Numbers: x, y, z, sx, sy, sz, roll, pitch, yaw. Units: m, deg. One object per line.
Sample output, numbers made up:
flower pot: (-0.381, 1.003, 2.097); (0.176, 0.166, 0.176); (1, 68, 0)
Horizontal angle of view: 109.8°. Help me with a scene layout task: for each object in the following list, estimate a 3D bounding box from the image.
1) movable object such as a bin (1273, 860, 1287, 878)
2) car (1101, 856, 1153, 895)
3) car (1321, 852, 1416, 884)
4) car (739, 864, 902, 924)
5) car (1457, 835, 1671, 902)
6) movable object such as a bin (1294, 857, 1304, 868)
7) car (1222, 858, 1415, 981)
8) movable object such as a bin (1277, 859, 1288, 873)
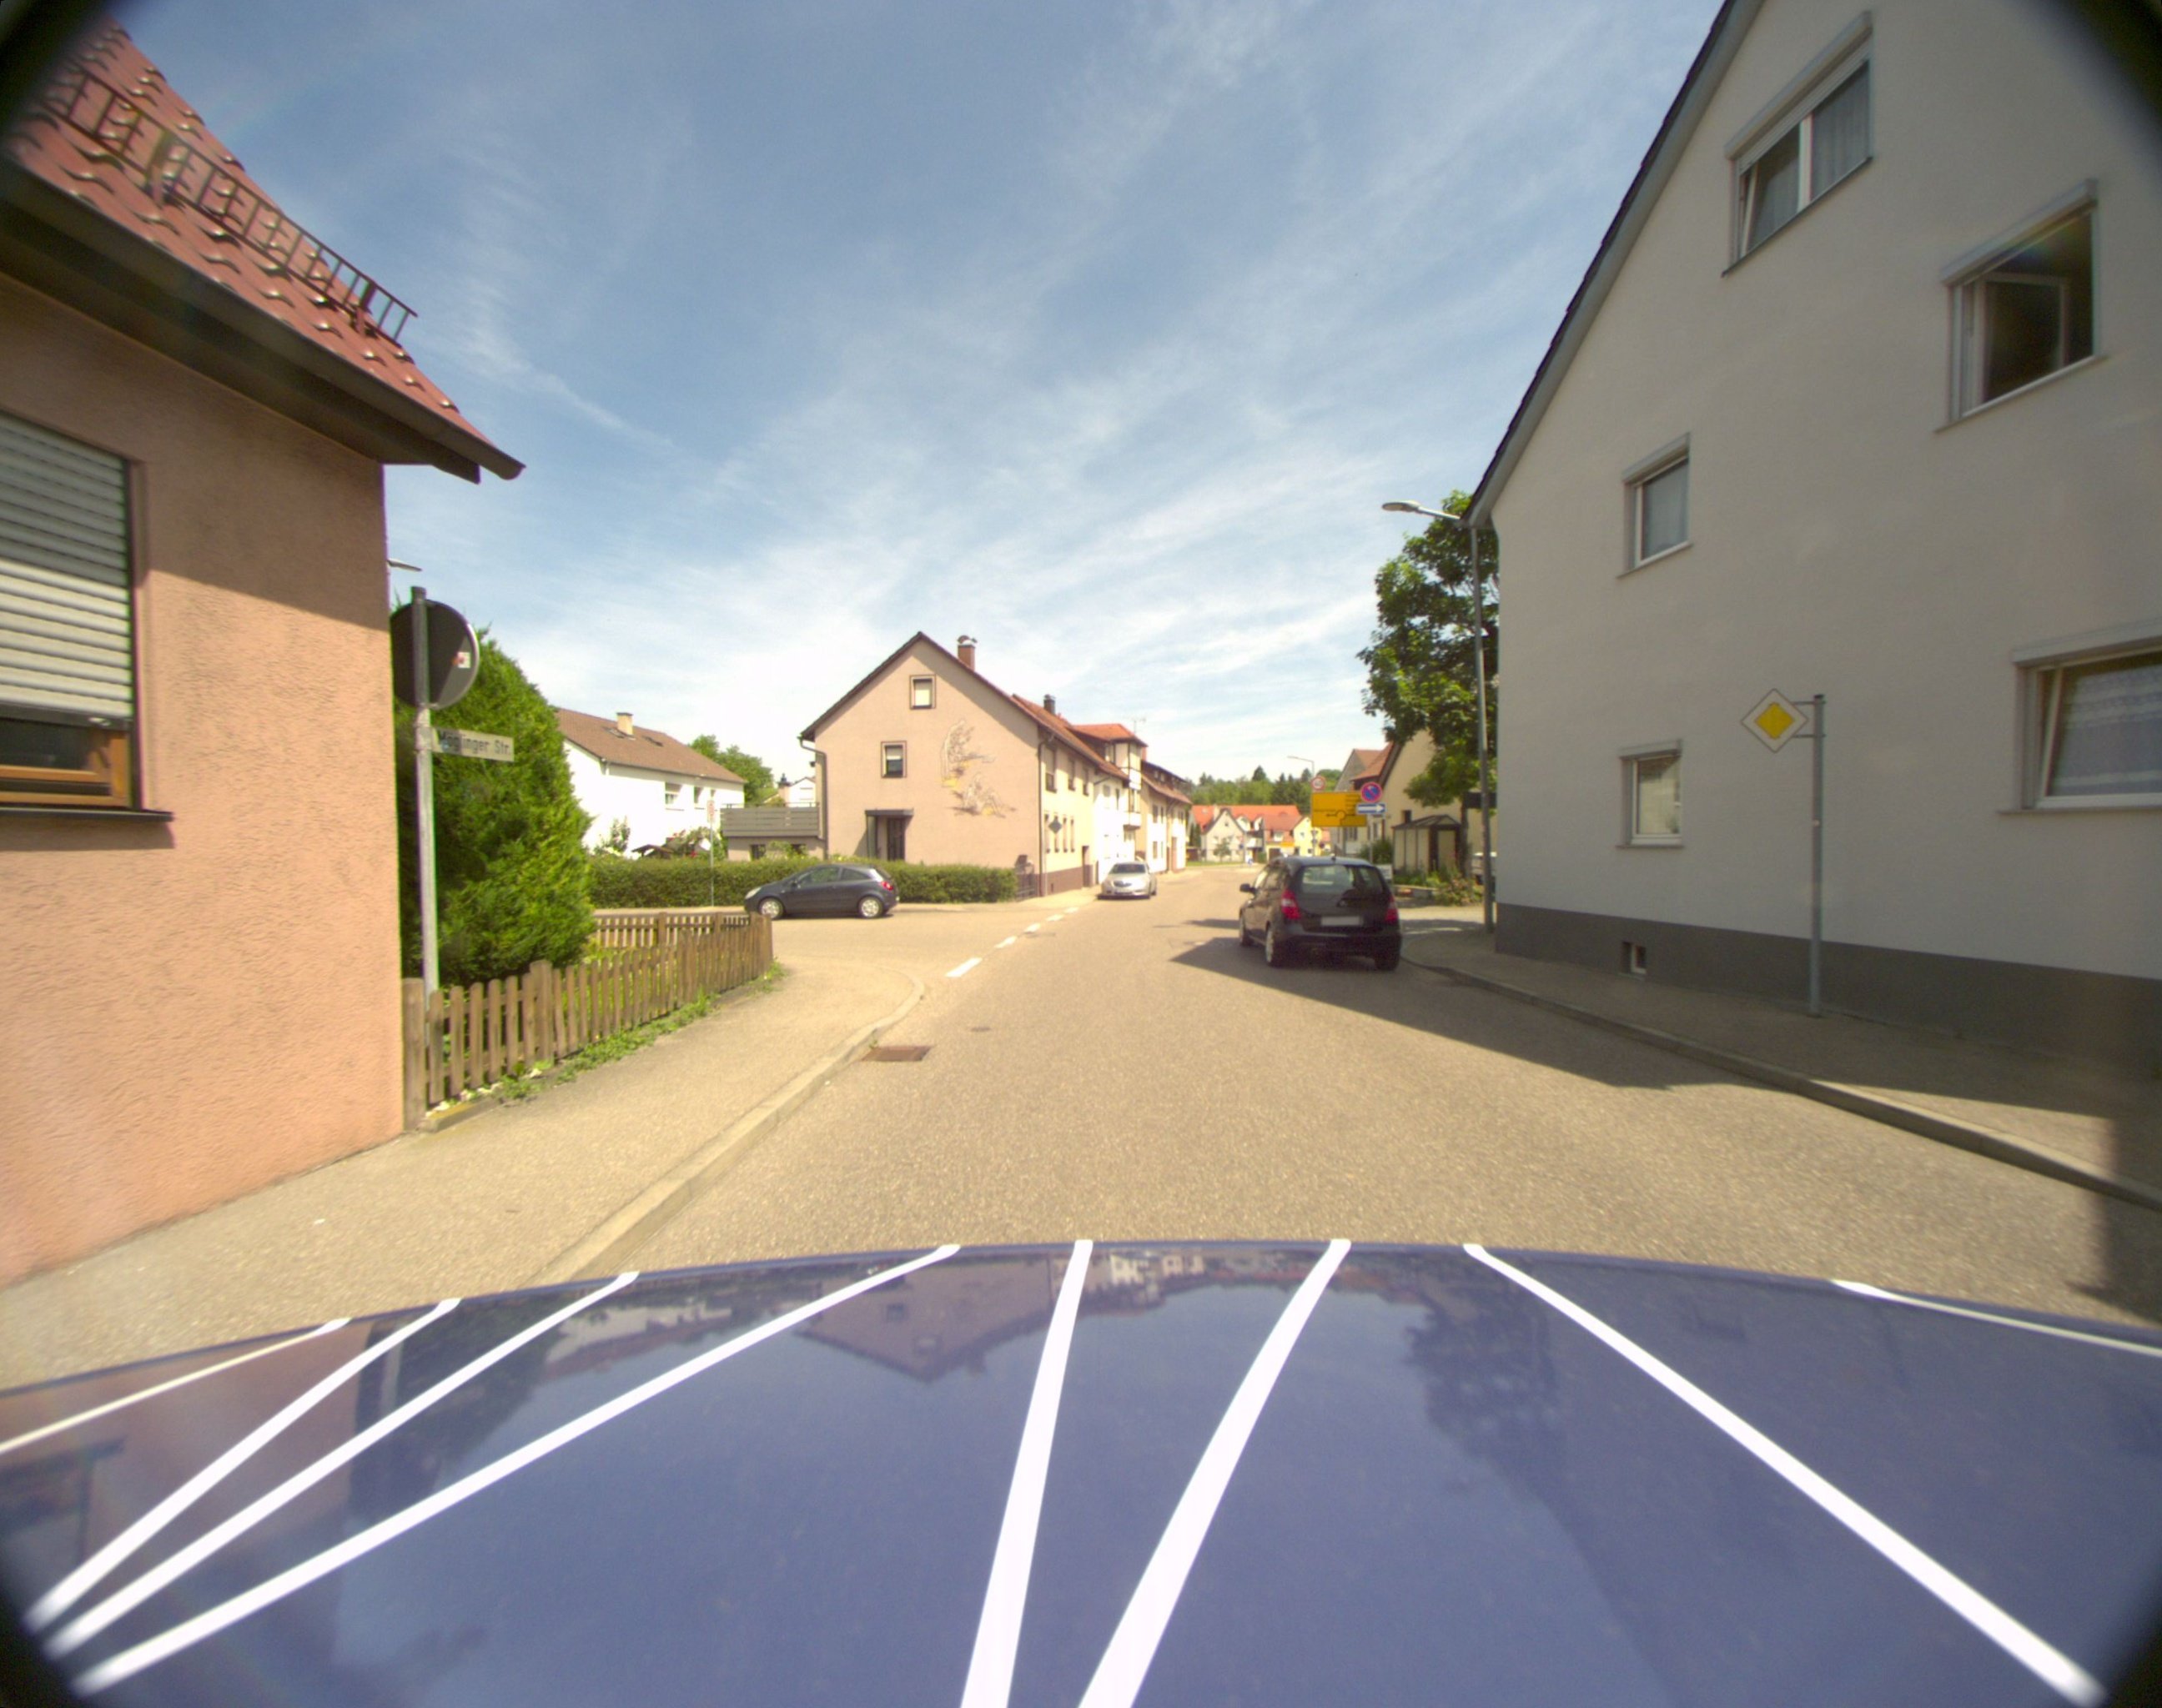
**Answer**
movable object such as a bin: (12.566, 0.946, 47.948); (0.827, 1.071, 0.819); (-1, 0, 15)
car: (1.904, 0.805, 30.318); (1.789, 1.433, 4.339); (-1, 0, 7)
car: (15.473, 0.717, 41.097); (4.412, 1.613, 2.000); (-1, 1, 2)
car: (-6.874, 1.030, 20.423); (3.816, 1.479, 1.888); (0, 1, -6)
car: (14.508, 0.418, 23.052); (5.119, 1.885, 2.175); (0, 0, -1)
movable object such as a bin: (21.341, 0.811, 74.260); (0.809, 1.039, 0.828); (-1, 0, 25)
car: (3.433, 0.855, 11.816); (1.804, 1.546, 4.071); (1, 0, 1)
movable object such as a bin: (15.512, 0.924, 58.502); (0.792, 1.051, 0.651); (0, 0, 11)
